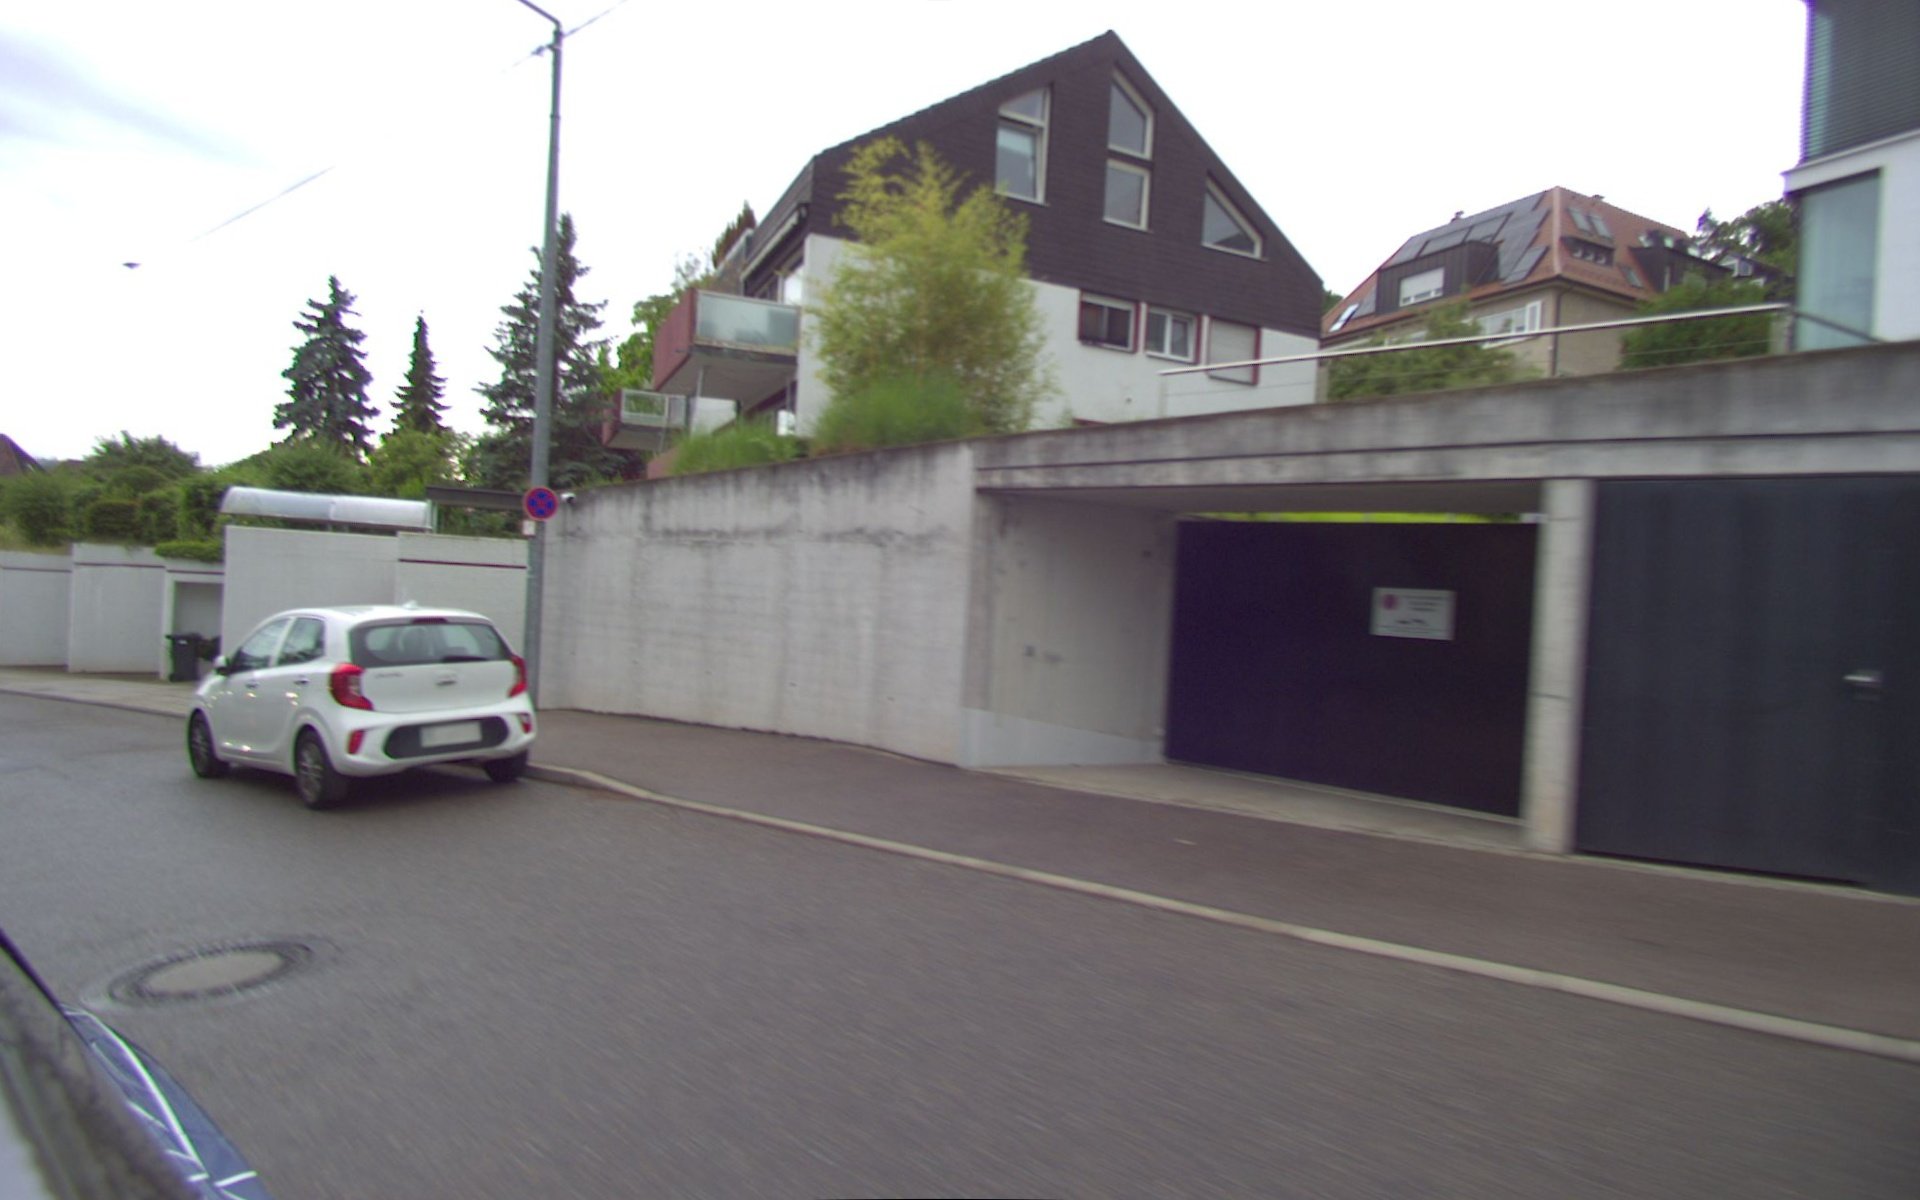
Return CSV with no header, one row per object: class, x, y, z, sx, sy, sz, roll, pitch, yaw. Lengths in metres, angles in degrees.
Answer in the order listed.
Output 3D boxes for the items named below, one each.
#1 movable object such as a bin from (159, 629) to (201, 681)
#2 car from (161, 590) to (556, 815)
movable object such as a bin,-15.098,1.053,19.597,0.535,0.970,0.648,0,-1,-27
car,-5.262,0.740,8.684,3.826,1.527,1.612,-1,-2,38
